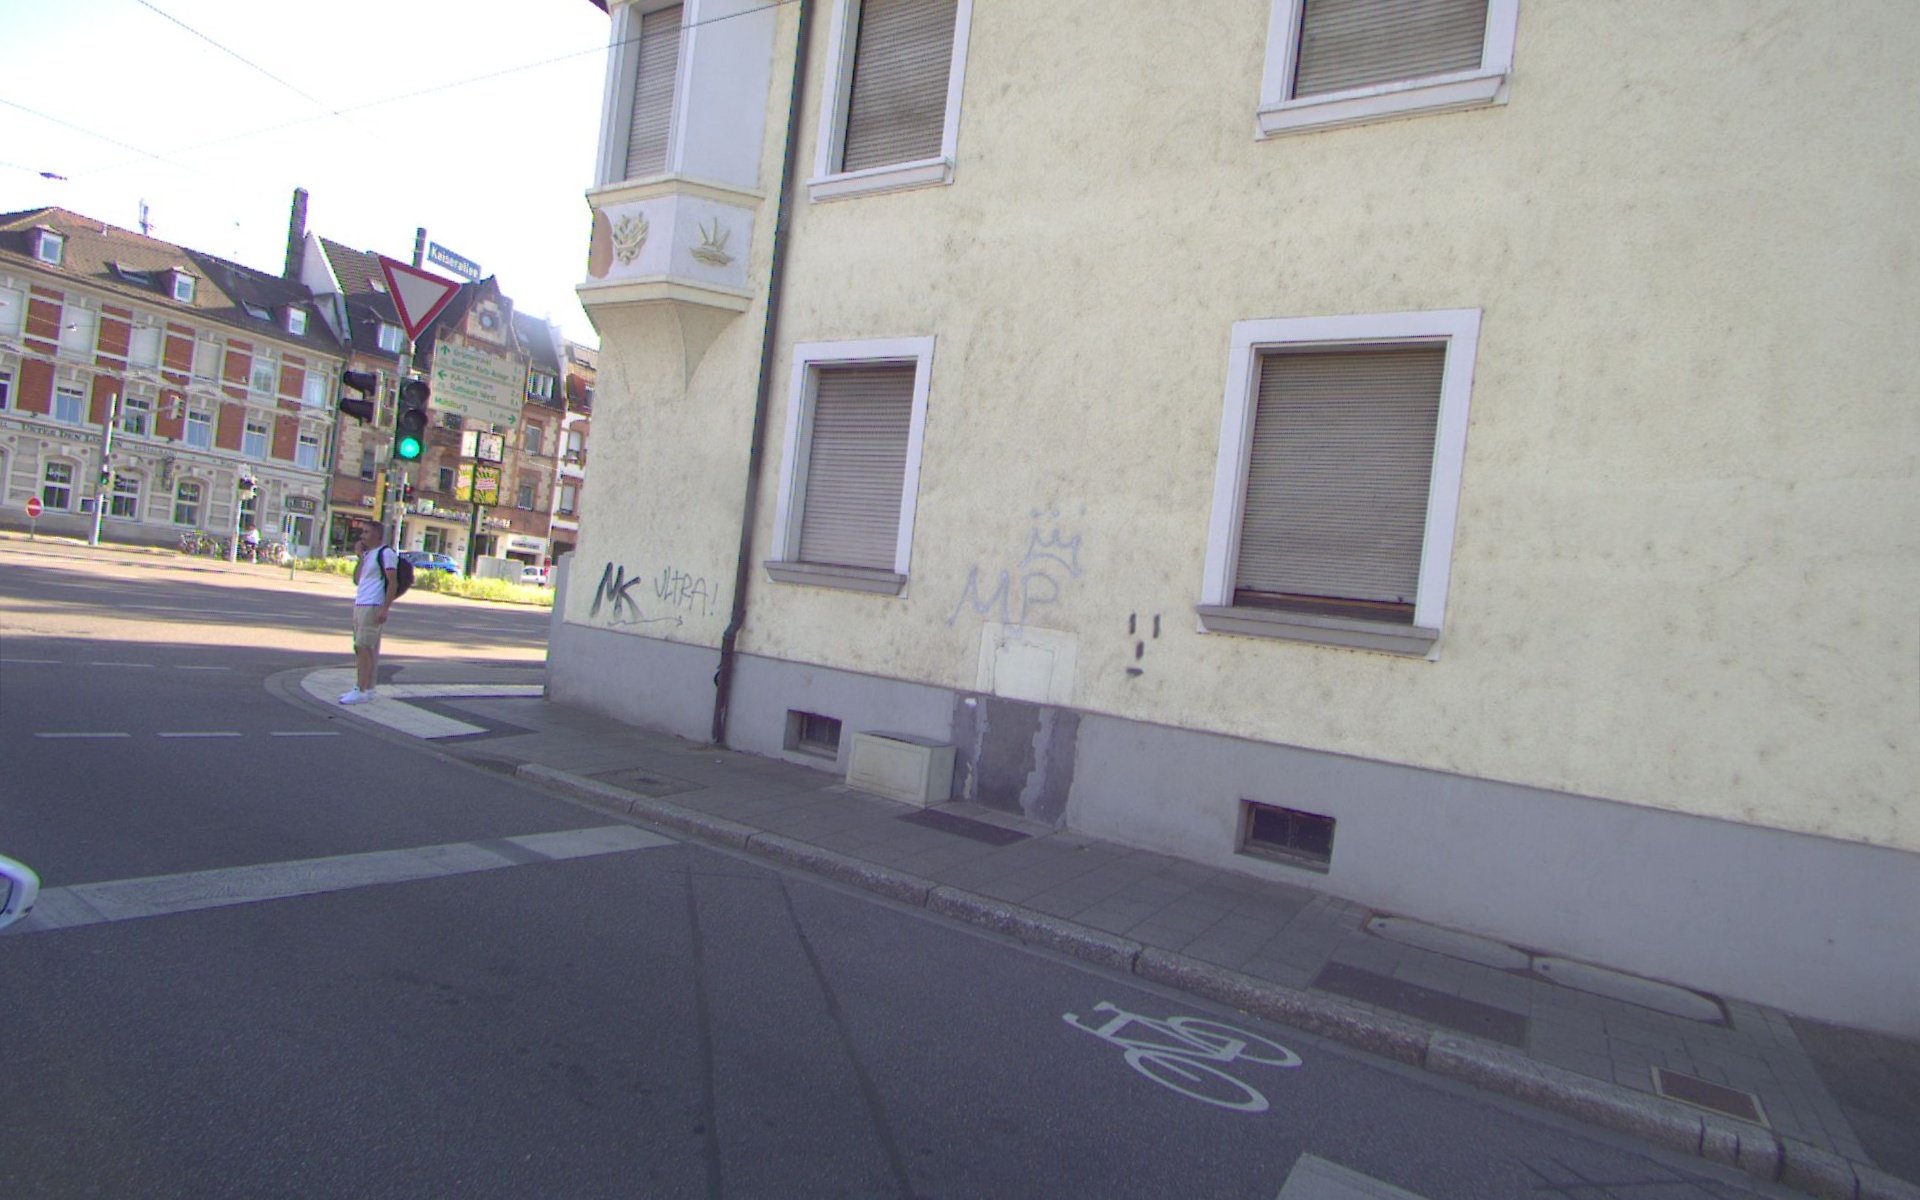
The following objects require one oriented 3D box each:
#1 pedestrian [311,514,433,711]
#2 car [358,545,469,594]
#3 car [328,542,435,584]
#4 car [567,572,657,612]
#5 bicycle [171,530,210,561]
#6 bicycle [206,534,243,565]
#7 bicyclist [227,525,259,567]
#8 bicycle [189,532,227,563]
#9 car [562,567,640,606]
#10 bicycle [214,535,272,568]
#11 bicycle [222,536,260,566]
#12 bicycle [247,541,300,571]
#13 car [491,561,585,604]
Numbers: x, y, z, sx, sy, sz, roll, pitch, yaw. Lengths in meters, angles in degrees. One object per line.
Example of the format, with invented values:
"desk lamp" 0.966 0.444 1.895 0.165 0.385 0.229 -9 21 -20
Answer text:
"pedestrian" -5.600 0.110 9.613 0.661 1.764 0.689 5 2 2
"car" -25.382 -1.382 46.829 1.922 1.688 3.993 7 -1 31
"car" -27.807 -1.742 48.465 1.815 1.429 3.993 7 -1 31
"car" -19.470 -0.409 56.444 1.922 1.688 4.480 7 -1 31
"bicycle" -34.863 -2.481 45.571 1.935 1.205 0.678 7 0 33
"bicycle" -34.184 -2.358 46.740 1.935 1.205 0.678 7 0 33
"bicyclist" -32.368 -2.430 45.419 0.592 1.785 0.873 7 0 34
"bicycle" -34.523 -2.396 46.184 1.935 1.205 0.678 7 0 33
"car" -23.216 -0.845 65.183 1.922 1.988 4.411 7 -1 31
"bicycle" -32.375 -2.192 45.455 0.592 1.205 1.962 7 -1 34
"bicycle" -33.823 -2.327 47.313 1.935 1.205 0.678 7 0 33
"bicycle" -32.860 -2.092 48.165 0.667 1.205 1.968 7 -1 20
"car" -21.898 -0.904 52.332 1.922 1.688 3.993 7 -1 31
